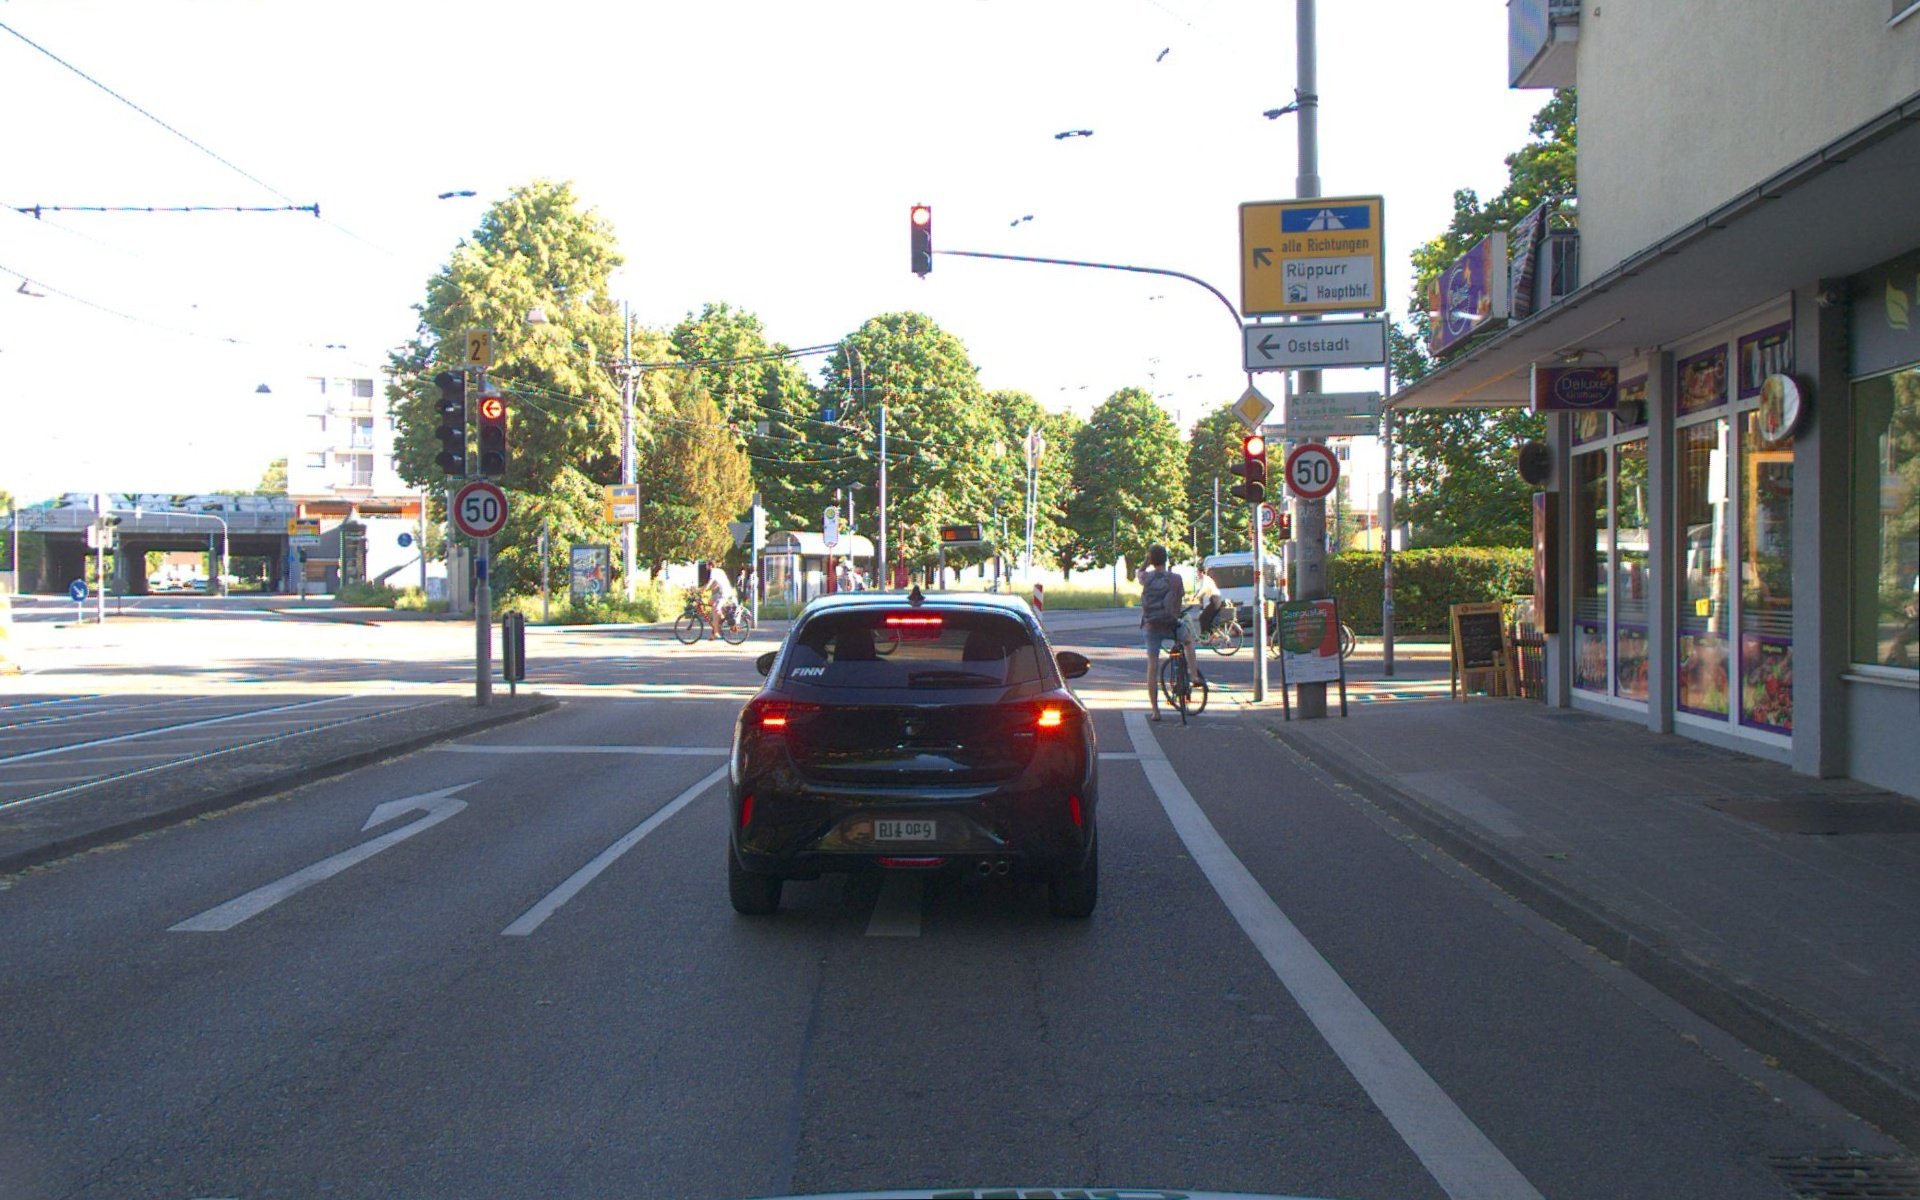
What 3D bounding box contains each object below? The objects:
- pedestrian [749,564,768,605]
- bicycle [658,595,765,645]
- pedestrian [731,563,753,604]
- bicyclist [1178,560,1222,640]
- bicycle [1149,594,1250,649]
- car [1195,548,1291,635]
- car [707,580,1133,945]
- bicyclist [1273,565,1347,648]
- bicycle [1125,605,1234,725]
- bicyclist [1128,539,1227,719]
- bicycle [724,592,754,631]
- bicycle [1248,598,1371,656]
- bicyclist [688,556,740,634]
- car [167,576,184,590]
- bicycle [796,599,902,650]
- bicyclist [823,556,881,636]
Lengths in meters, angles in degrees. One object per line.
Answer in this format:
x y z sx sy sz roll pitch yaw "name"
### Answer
-8.377 -0.641 68.803 0.623 1.658 0.572 1 0 6 "pedestrian"
-5.601 0.446 37.362 2.244 1.103 0.801 0 1 12 "bicycle"
-9.074 -0.686 68.890 0.735 1.658 0.598 1 0 6 "pedestrian"
4.969 0.001 34.248 0.843 1.623 0.650 0 0 13 "bicyclist"
4.963 0.445 34.239 2.011 1.113 0.593 0 0 13 "bicycle"
8.031 -0.259 46.608 2.020 2.288 4.890 0 1 17 "car"
-0.179 0.634 8.719 1.692 1.454 4.187 0 0 -1 "car"
6.646 0.115 31.407 1.094 1.547 0.918 -1 0 -14 "bicyclist"
2.338 0.668 17.898 0.842 1.173 2.171 -1 1 -1 "bicycle"
2.333 0.298 17.841 0.922 1.883 0.864 -1 0 -1 "bicyclist"
-6.197 0.302 46.406 0.593 1.049 1.982 0 1 -1 "bicycle"
6.632 0.499 31.413 2.153 1.051 0.831 -1 1 -14 "bicycle"
-5.546 -0.120 37.365 0.907 1.737 0.876 0 0 11 "bicyclist"
-110.060 -2.364 232.006 2.186 1.854 4.112 -1 1 -26 "car"
-2.235 0.485 33.346 2.014 1.001 0.673 0 0 10 "bicycle"
-2.168 -0.079 33.320 0.988 1.598 0.800 0 0 10 "bicyclist"
